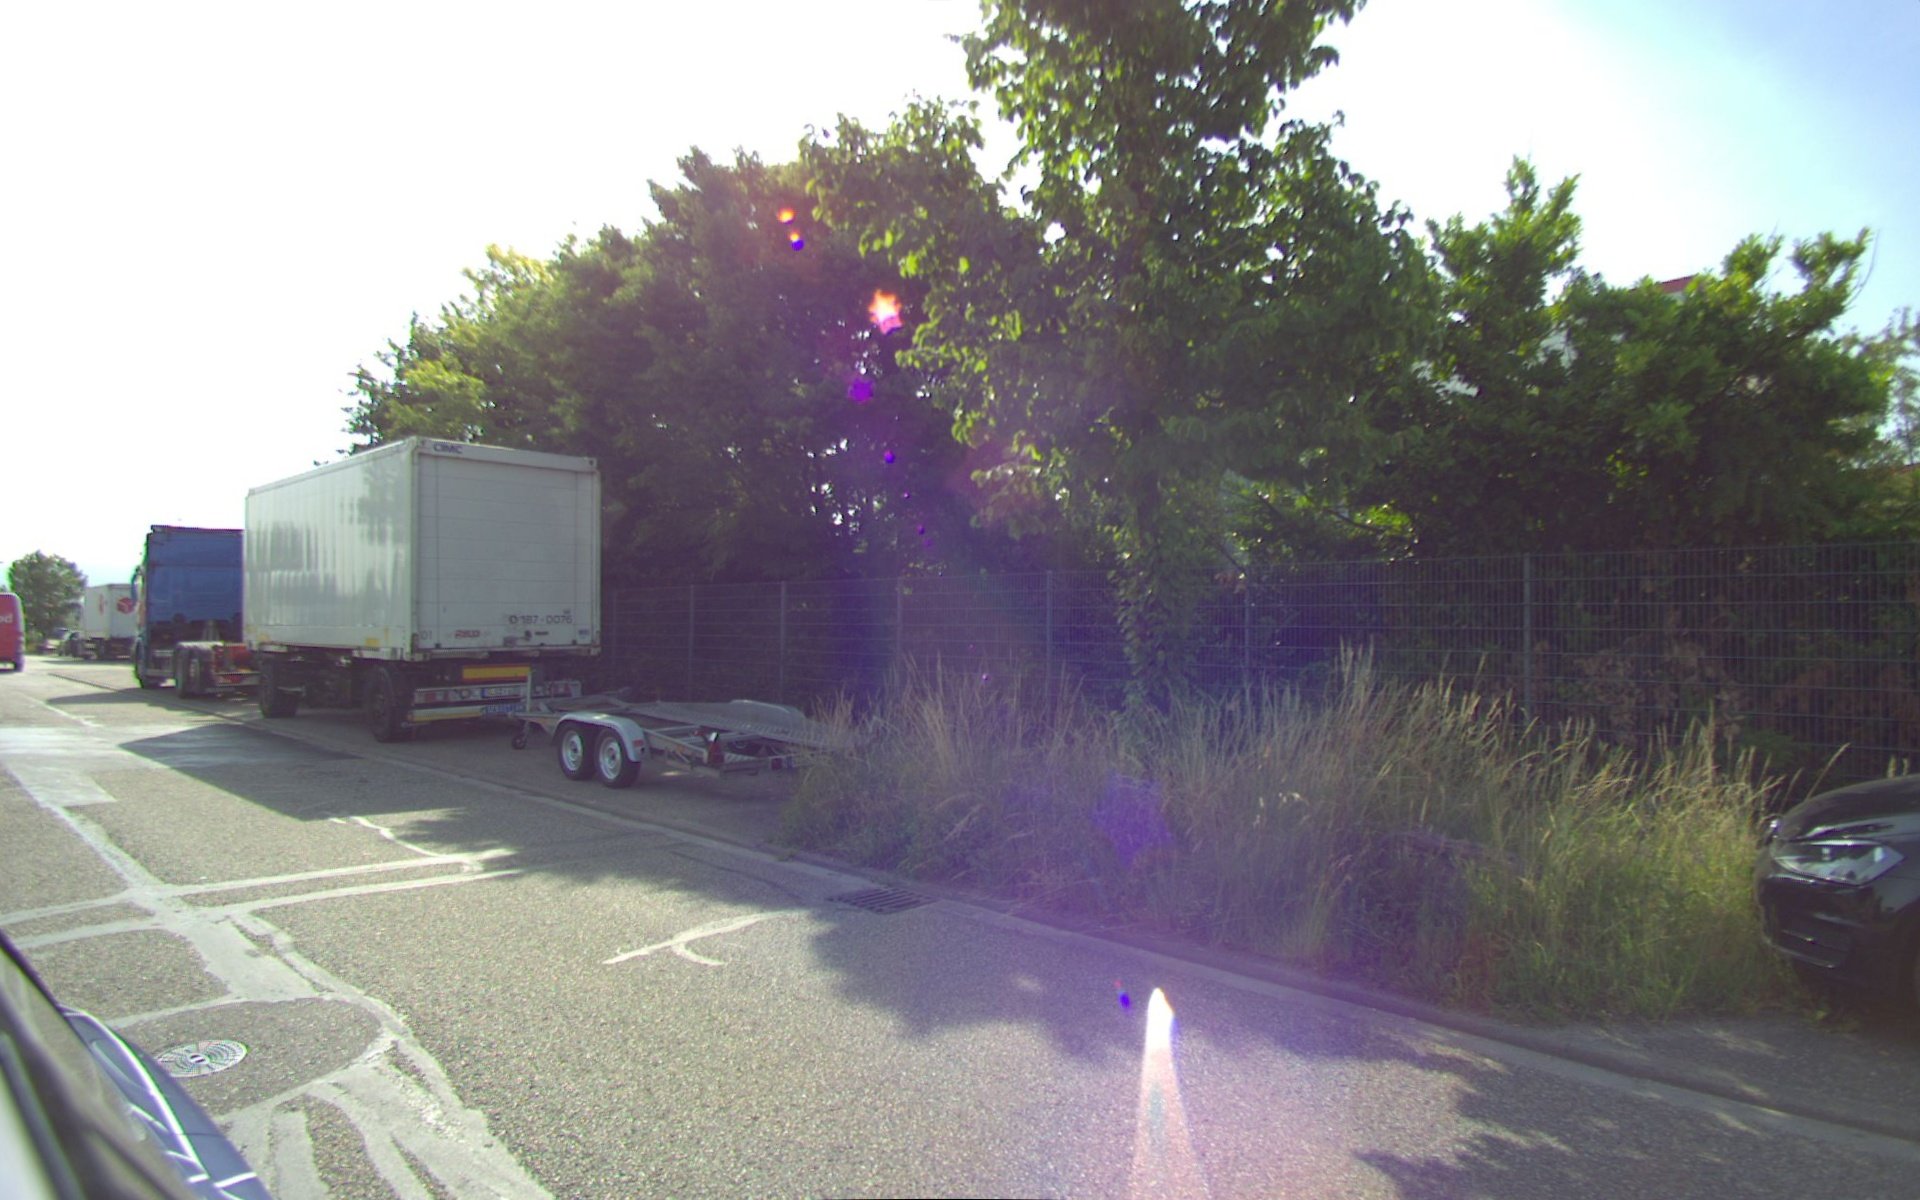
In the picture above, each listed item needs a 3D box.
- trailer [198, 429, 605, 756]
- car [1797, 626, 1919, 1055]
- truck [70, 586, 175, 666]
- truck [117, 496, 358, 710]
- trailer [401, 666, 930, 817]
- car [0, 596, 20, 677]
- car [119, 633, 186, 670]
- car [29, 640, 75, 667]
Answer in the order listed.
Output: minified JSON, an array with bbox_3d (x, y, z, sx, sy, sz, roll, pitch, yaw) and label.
[{"bbox_3d":[-9.476,-0.013,16.368,9.761,3.914,2.671,-1,-1,42],"label":"trailer"},{"bbox_3d":[5.156,0.829,2.938,4.094,1.481,1.669,-1,-3,43],"label":"car"},{"bbox_3d":[-44.447,1.382,53.560,10.060,3.883,2.747,-1,-3,42],"label":"truck"},{"bbox_3d":[-16.582,0.130,22.838,9.637,3.914,2.683,-1,-1,44],"label":"truck"},{"bbox_3d":[-3.487,1.313,11.030,6.240,0.993,2.621,-1,-3,41],"label":"trailer"},{"bbox_3d":[-33.373,1.190,34.000,6.988,2.566,1.972,-1,-4,43],"label":"car"},{"bbox_3d":[-38.212,2.405,47.855,4.191,1.604,1.744,-2,-1,41],"label":"car"},{"bbox_3d":[-56.349,3.291,62.769,3.965,1.594,1.712,-2,-1,42],"label":"car"}]
